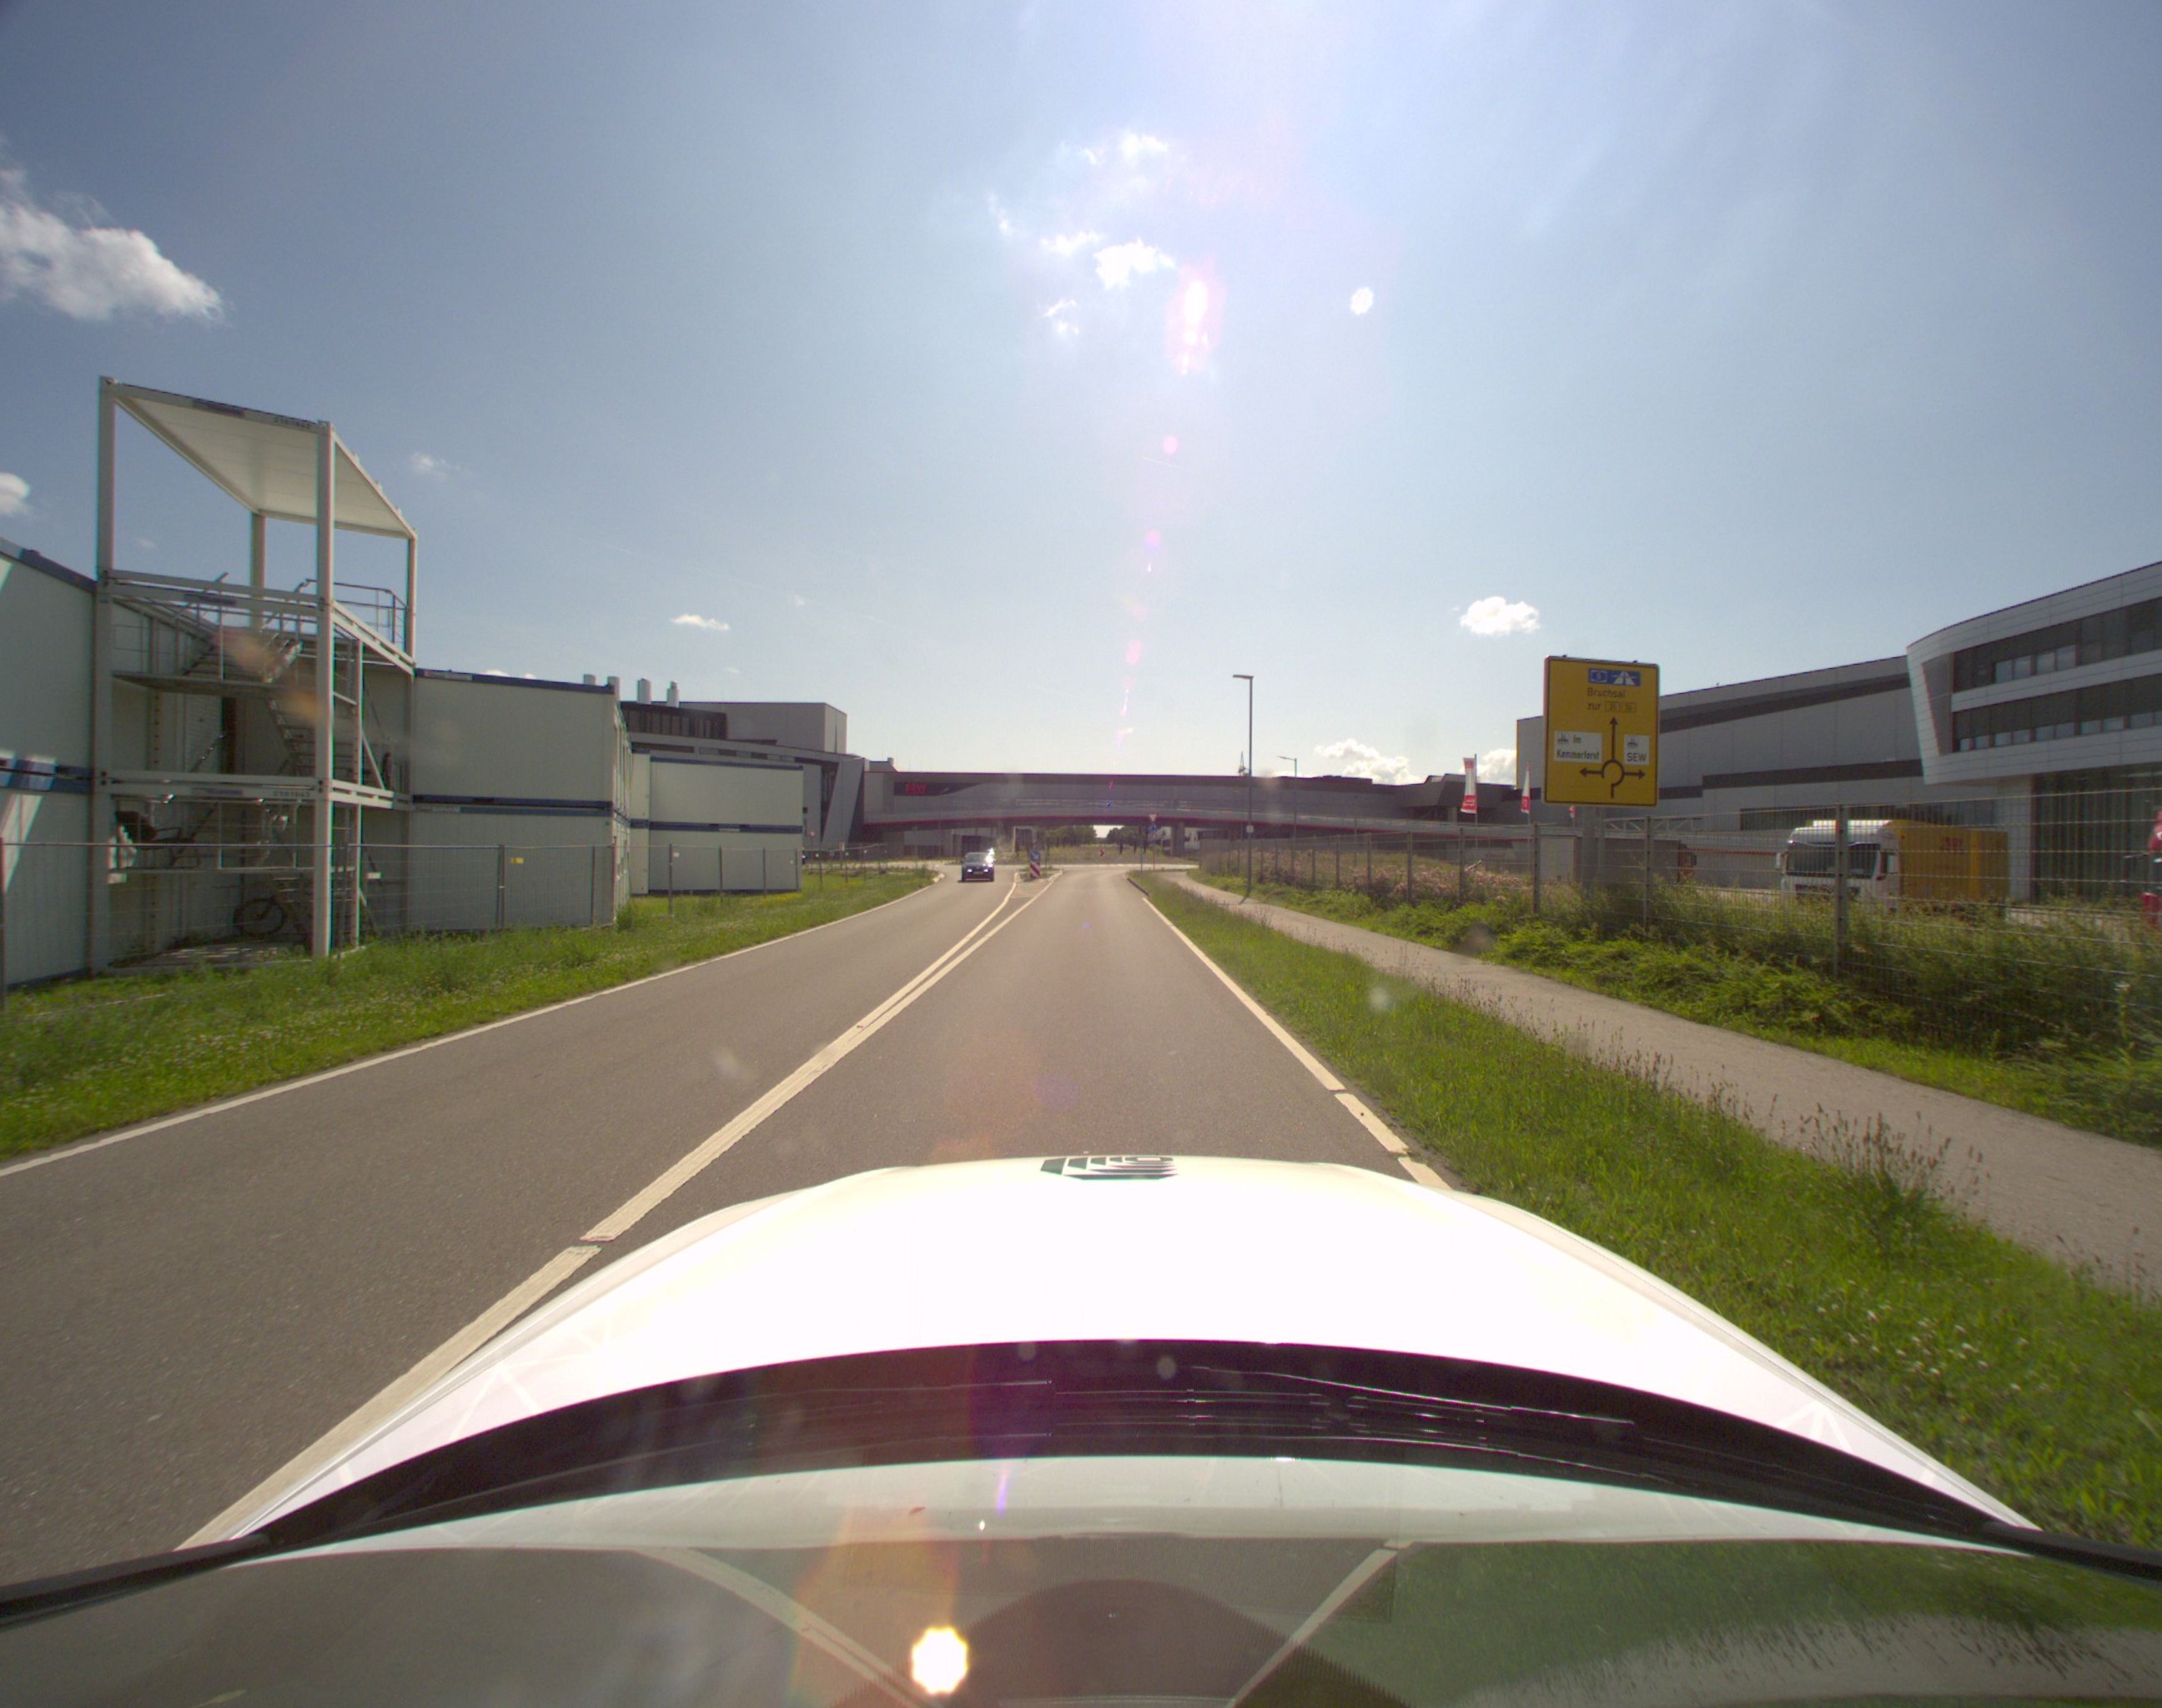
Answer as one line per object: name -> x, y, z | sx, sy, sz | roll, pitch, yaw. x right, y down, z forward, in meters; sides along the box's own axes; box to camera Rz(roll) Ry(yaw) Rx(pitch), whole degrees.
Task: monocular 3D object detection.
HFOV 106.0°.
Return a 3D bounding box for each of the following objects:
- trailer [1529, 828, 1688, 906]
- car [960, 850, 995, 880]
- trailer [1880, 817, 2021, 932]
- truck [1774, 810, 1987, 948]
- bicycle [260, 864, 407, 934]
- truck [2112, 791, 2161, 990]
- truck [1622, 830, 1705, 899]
trailer -> 33.272, 0.711, 50.994 | 14.114, 4.438, 2.738 | 0, -1, -33
car -> -5.461, 0.575, 43.124 | 1.701, 1.482, 3.990 | -1, 0, -7
trailer -> 36.617, 0.751, 34.202 | 8.752, 4.296, 2.870 | 0, -1, -36
truck -> 28.471, 0.745, 28.775 | 11.011, 4.172, 2.794 | 0, -1, -32
bicycle -> -14.749, 0.854, 16.141 | 2.052, 1.301, 0.603 | 0, -1, -29
truck -> 28.200, 0.744, 19.616 | 11.013, 4.256, 2.998 | 0, -1, -32
truck -> 39.220, 0.666, 54.819 | 5.310, 4.423, 2.738 | 0, -1, -33
